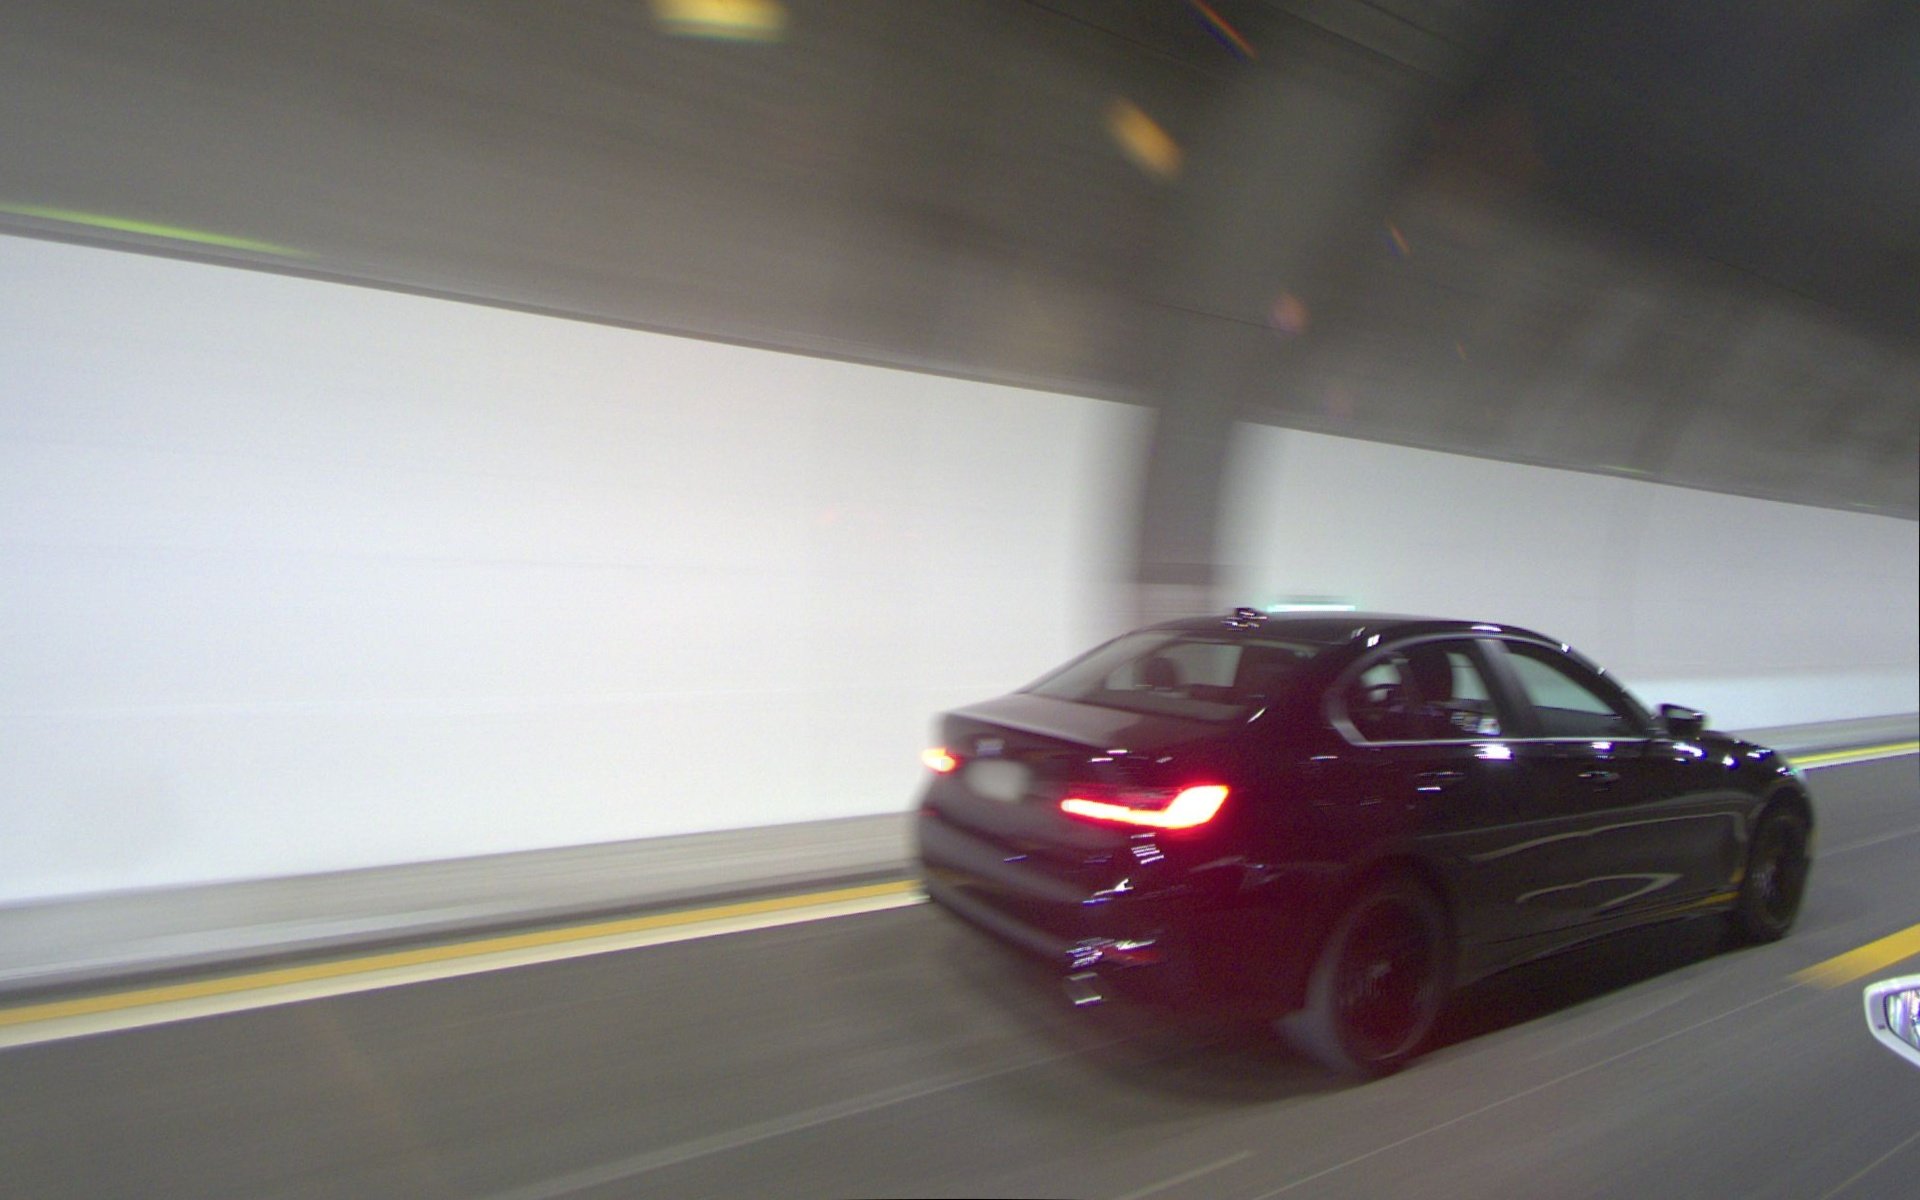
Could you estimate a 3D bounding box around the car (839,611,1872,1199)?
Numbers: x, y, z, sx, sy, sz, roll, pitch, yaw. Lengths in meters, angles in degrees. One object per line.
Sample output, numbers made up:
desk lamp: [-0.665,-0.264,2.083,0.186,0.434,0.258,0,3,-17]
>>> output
car: [2.028,0.813,4.524,4.826,1.457,1.769,1,0,-31]
